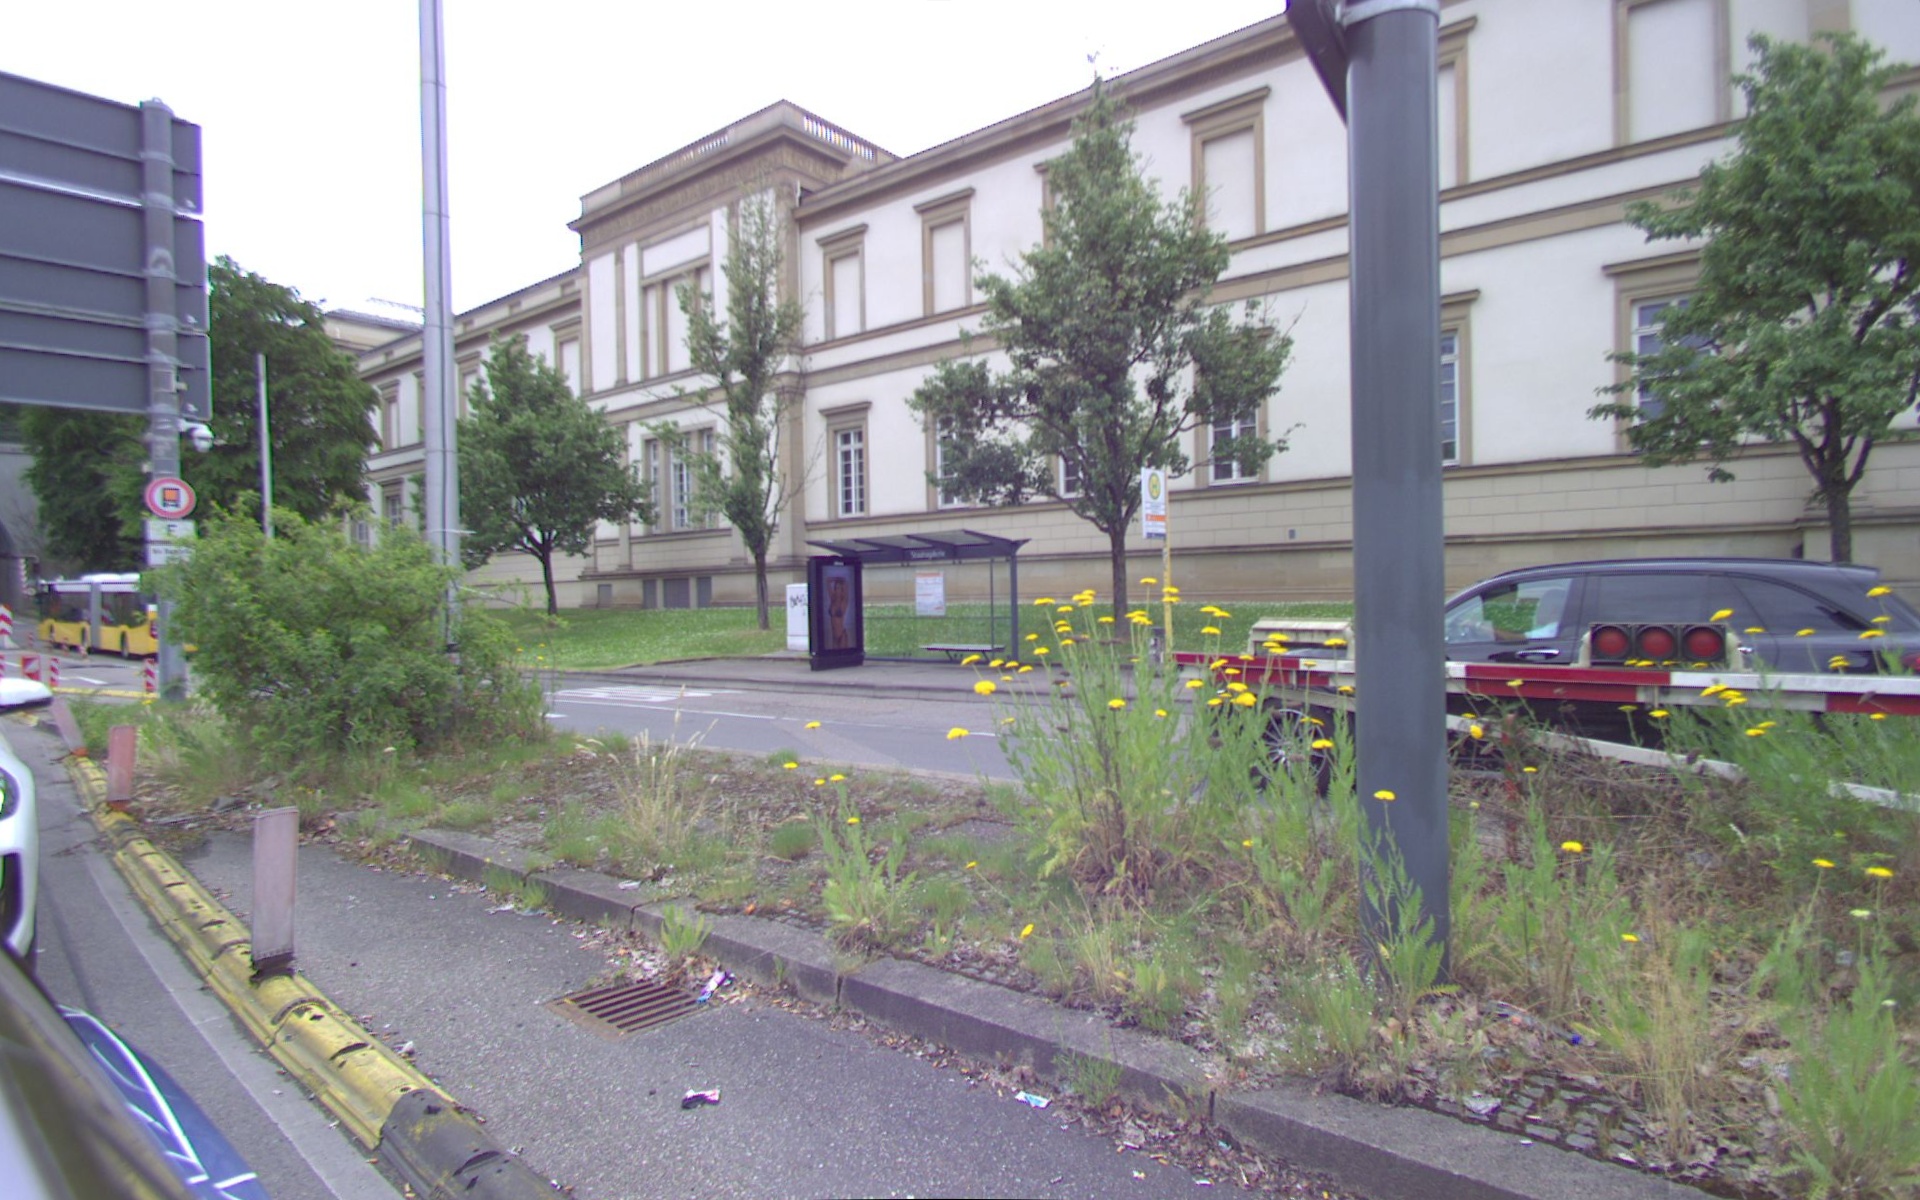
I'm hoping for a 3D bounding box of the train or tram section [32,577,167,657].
[{"bbox_3d":[-36.936,0.768,43.288,9.365,3.094,2.667,-1,-2,39],"label":"train or tram section"}]

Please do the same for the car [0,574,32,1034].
[{"bbox_3d":[-5.240,0.721,4.209,3.911,1.568,1.733,-1,0,43],"label":"car"}]

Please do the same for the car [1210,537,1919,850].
[{"bbox_3d":[4.112,0.500,6.888,4.353,1.638,1.867,-1,0,30],"label":"car"}]

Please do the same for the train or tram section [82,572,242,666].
[{"bbox_3d":[-29.665,0.740,37.427,9.326,3.094,2.667,-2,-2,39],"label":"train or tram section"}]
